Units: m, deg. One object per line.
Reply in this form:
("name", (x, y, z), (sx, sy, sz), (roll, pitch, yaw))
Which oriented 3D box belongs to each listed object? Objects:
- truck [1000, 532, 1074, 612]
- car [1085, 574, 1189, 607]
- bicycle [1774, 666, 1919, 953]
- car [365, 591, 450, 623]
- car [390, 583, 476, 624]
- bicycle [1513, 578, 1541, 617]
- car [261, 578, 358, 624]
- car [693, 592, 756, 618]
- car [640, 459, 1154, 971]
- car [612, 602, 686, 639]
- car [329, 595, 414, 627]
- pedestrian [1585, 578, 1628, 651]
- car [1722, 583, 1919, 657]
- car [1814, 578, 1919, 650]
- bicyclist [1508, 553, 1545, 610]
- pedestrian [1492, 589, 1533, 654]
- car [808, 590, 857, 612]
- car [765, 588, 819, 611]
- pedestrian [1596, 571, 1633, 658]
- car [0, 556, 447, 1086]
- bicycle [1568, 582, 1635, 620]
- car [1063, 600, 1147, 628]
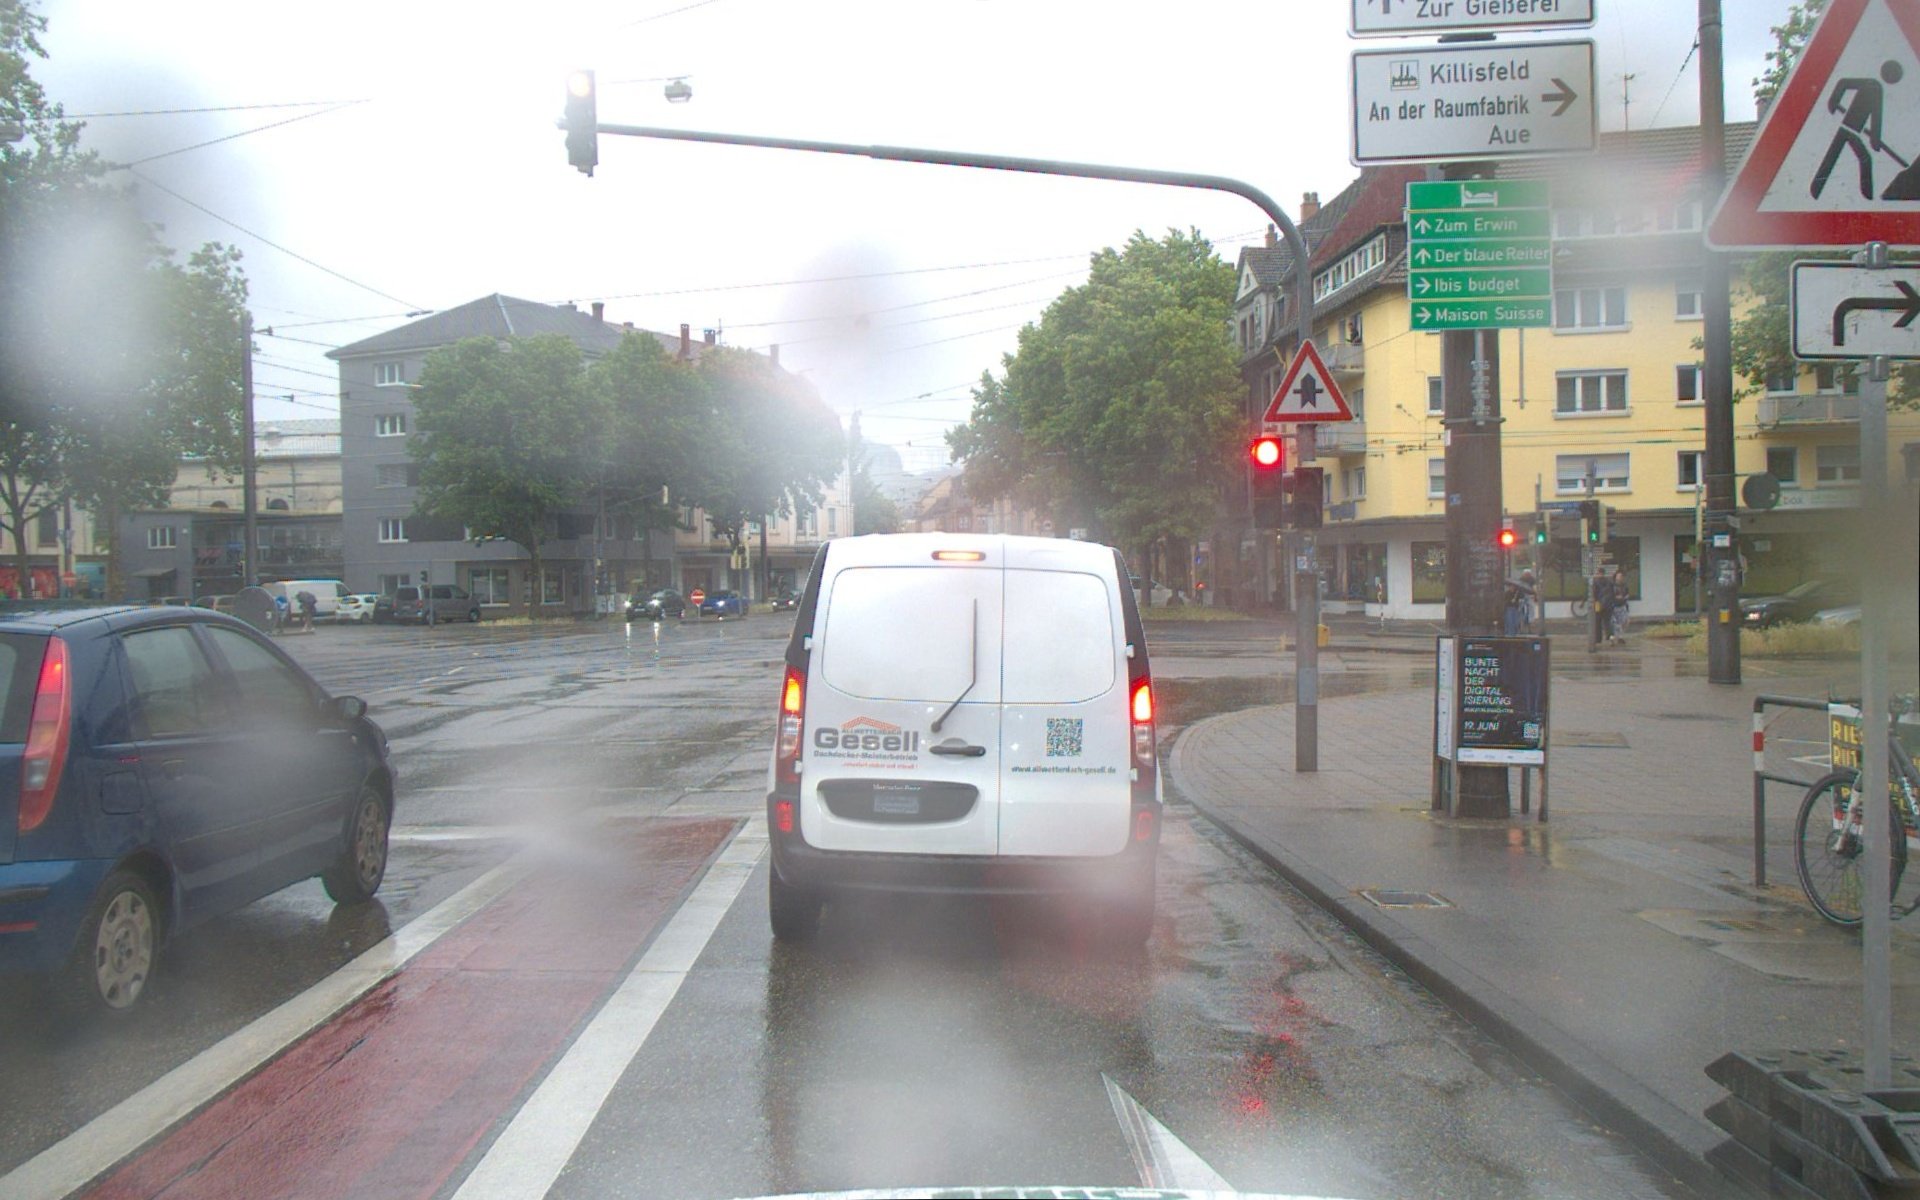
("truck", (5.503, -1.807, 114.701), (3.395, 5.176, 15.319), (0, 0, 9))
("car", (7.392, -0.407, 69.065), (4.088, 1.362, 1.518), (0, 1, -8))
("bicycle", (4.246, 0.908, 7.079), (0.503, 1.126, 2.017), (3, 0, 1))
("car", (-28.779, 0.355, 86.214), (1.954, 1.556, 3.997), (0, 2, 26))
("car", (-26.807, 0.167, 84.289), (1.954, 2.049, 3.996), (0, 0, 26))
("bicycle", (15.624, -0.057, 45.560), (0.644, 1.045, 2.024), (0, 0, 21))
("car", (-34.145, 0.004, 86.961), (1.953, 2.236, 4.787), (1, 2, 22))
("car", (-12.704, 0.239, 89.544), (1.909, 1.261, 4.003), (0, 2, 16))
("car", (-0.288, 0.466, 9.120), (2.058, 2.047, 4.962), (0, 0, -1))
("car", (-14.929, 0.970, 79.553), (1.909, 1.635, 4.003), (0, 2, 16))
("car", (-30.986, 0.542, 87.160), (1.915, 1.522, 3.997), (0, 2, 26))
("pedestrian", (15.129, 0.332, 38.705), (0.886, 1.698, 1.019), (0, 0, 24))
("car", (20.853, 0.484, 39.071), (4.832, 1.672, 2.001), (0, -2, 11))
("car", (20.918, 0.289, 35.997), (3.854, 1.516, 1.808), (0, 1, 15))
("bicyclist", (15.621, -0.506, 45.594), (0.914, 1.574, 1.069), (0, 0, 21))
("pedestrian", (13.373, 0.516, 40.021), (0.809, 1.561, 0.614), (1, 0, -39))
("car", (-8.298, 0.053, 107.894), (1.909, 1.261, 4.003), (0, 2, 16))
("car", (-10.120, -0.046, 99.854), (1.909, 1.261, 4.003), (0, 2, 16))
("pedestrian", (15.605, 0.336, 39.409), (0.779, 2.049, 0.860), (0, 0, 24))
("car", (-3.568, 0.662, 6.906), (1.692, 1.606, 3.820), (0, 0, -1))
("bicycle", (21.545, 0.031, 55.589), (2.056, 1.283, 0.532), (0, 1, 14))
("car", (6.221, 0.605, 71.074), (3.378, 1.150, 1.469), (0, 0, -9))
